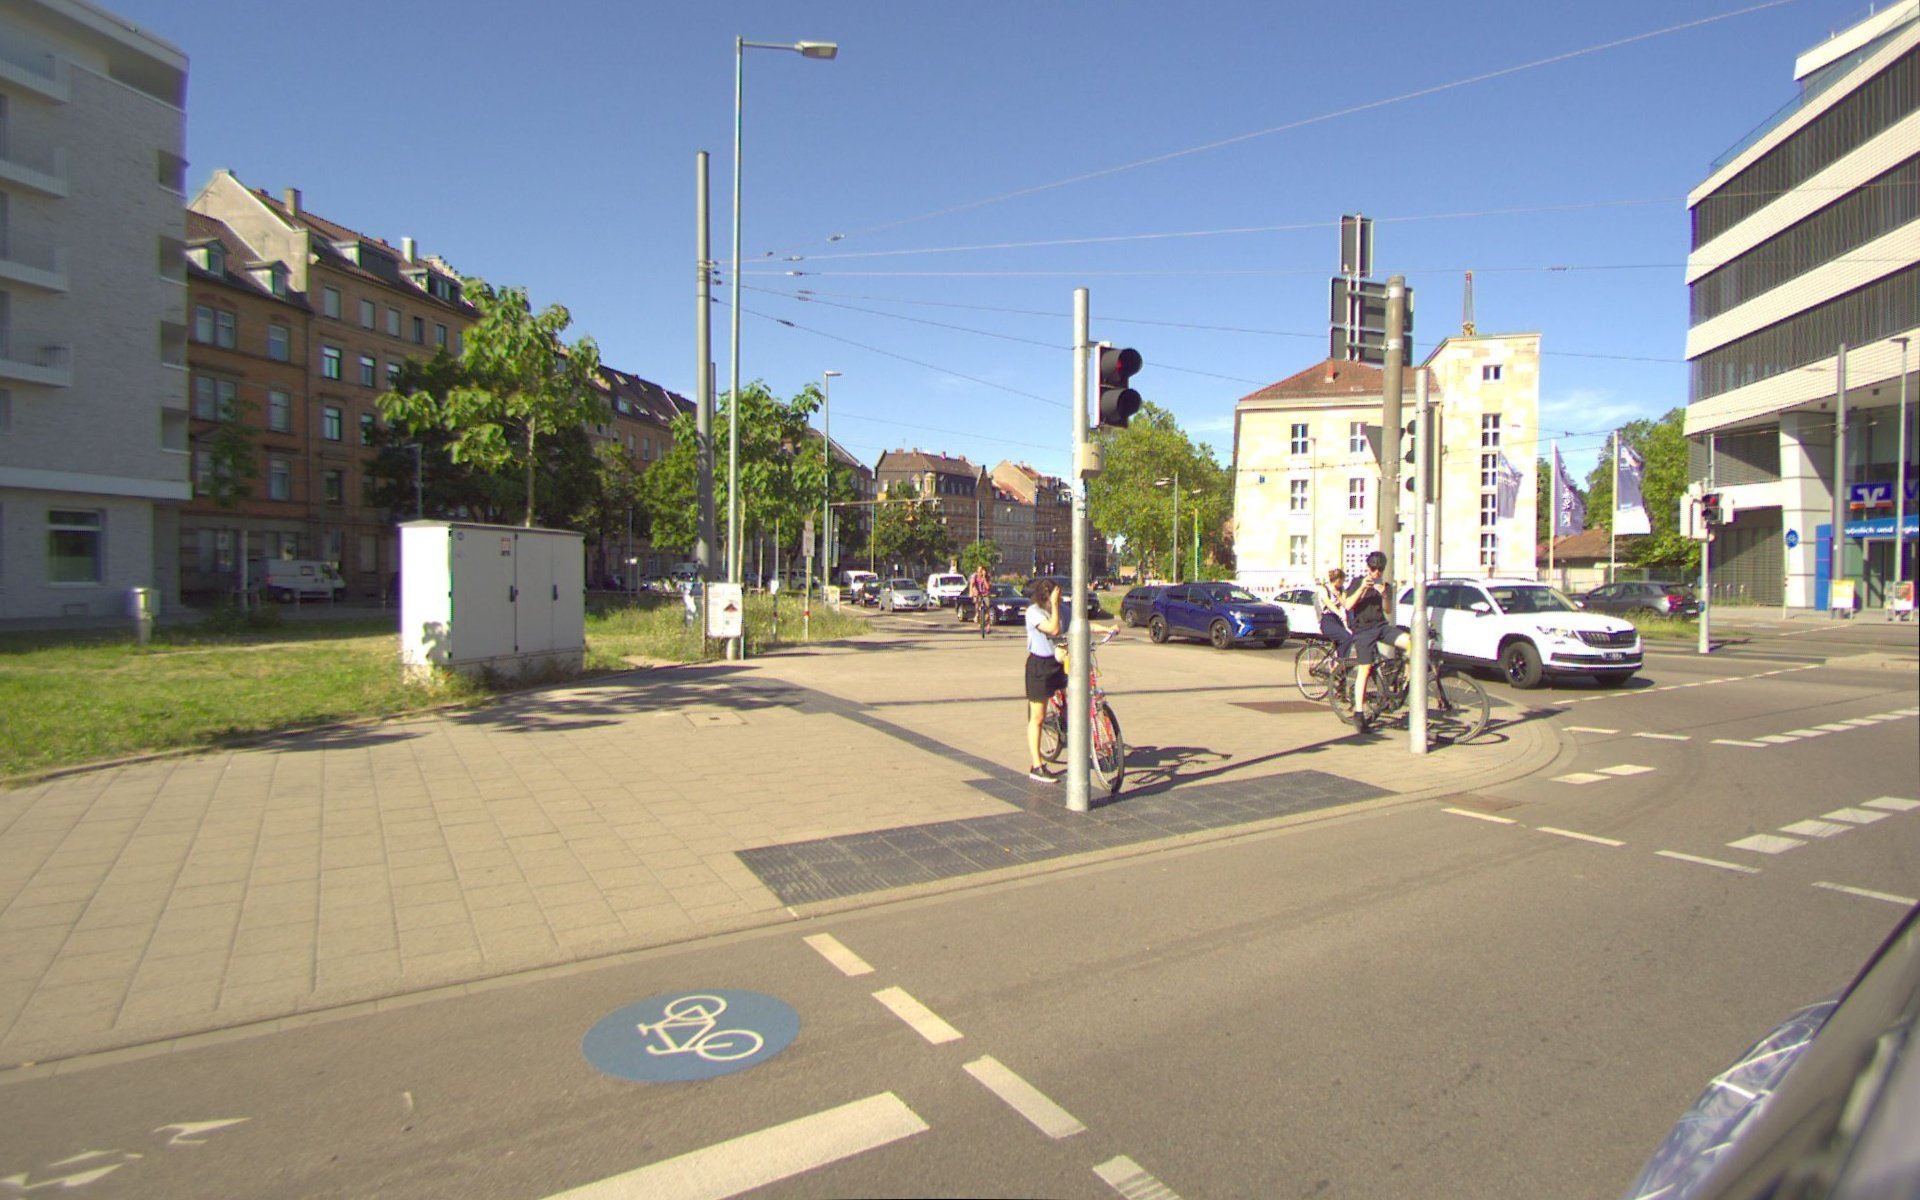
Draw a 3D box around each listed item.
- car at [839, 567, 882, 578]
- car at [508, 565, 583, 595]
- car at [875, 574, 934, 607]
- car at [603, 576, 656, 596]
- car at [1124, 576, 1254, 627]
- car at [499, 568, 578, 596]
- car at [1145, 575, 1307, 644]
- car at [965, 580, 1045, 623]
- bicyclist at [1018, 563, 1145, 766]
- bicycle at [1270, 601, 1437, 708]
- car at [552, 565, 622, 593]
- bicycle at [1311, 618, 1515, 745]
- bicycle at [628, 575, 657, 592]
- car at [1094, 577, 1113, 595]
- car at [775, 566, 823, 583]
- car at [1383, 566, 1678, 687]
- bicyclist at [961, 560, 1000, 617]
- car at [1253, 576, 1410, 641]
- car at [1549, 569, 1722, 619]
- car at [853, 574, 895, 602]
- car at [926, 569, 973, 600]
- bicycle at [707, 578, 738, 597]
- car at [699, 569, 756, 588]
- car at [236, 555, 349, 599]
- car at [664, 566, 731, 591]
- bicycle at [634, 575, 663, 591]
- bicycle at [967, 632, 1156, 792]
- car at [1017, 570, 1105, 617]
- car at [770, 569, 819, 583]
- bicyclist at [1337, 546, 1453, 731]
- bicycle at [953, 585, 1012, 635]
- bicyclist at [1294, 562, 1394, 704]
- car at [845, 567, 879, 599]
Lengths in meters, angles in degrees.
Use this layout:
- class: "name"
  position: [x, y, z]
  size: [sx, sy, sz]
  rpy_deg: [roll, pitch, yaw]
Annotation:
- class: "car"
  position: [-10.948, -3.033, 111.568]
  size: [4.309, 1.225, 2.004]
  rpy_deg: [-1, 1, -21]
- class: "car"
  position: [-23.833, -1.145, 58.321]
  size: [3.916, 1.682, 2.004]
  rpy_deg: [-1, 1, -21]
- class: "car"
  position: [-2.757, -0.498, 49.522]
  size: [1.835, 1.575, 4.009]
  rpy_deg: [-1, 2, -20]
- class: "car"
  position: [-22.786, -0.987, 69.787]
  size: [3.393, 1.348, 1.736]
  rpy_deg: [-1, 1, -21]
- class: "car"
  position: [7.226, -0.013, 32.421]
  size: [1.803, 1.448, 4.493]
  rpy_deg: [-2, 2, -22]
- class: "car"
  position: [-23.004, -1.018, 55.323]
  size: [3.916, 1.482, 2.004]
  rpy_deg: [-1, 1, -21]
- class: "car"
  position: [6.529, 0.160, 25.277]
  size: [1.836, 1.575, 4.008]
  rpy_deg: [-1, 2, -23]
- class: "car"
  position: [1.571, 0.024, 36.990]
  size: [1.553, 1.451, 3.846]
  rpy_deg: [-1, 2, -20]
- class: "bicyclist"
  position: [0.897, 0.445, 7.625]
  size: [0.577, 1.421, 0.829]
  rpy_deg: [1, 2, -23]
- class: "bicycle"
  position: [4.821, 0.630, 12.575]
  size: [0.682, 1.118, 2.016]
  rpy_deg: [1, 2, -22]
- class: "car"
  position: [-22.593, -1.292, 61.372]
  size: [3.916, 1.682, 2.004]
  rpy_deg: [-1, 1, -21]
- class: "bicycle"
  position: [4.537, 0.769, 10.288]
  size: [0.594, 1.050, 1.899]
  rpy_deg: [1, 2, -28]
- class: "bicycle"
  position: [-19.941, -1.055, 63.542]
  size: [1.729, 1.037, 0.452]
  rpy_deg: [0, 1, 2]
- class: "car"
  position: [15.118, -1.506, 106.562]
  size: [1.743, 1.771, 3.987]
  rpy_deg: [0, 1, 11]
- class: "car"
  position: [-15.036, -2.383, 94.529]
  size: [4.309, 1.479, 2.004]
  rpy_deg: [0, 1, -11]
- class: "car"
  position: [9.103, 0.314, 16.656]
  size: [1.836, 1.650, 4.347]
  rpy_deg: [-2, 2, -10]
- class: "bicyclist"
  position: [0.513, -0.289, 25.503]
  size: [0.682, 1.394, 0.740]
  rpy_deg: [1, 2, -23]
- class: "car"
  position: [9.598, 0.157, 26.471]
  size: [1.636, 1.448, 3.843]
  rpy_deg: [-4, 3, -23]
- class: "car"
  position: [22.076, -0.255, 33.261]
  size: [1.960, 1.518, 4.314]
  rpy_deg: [-1, 2, -30]
- class: "car"
  position: [-4.970, -0.710, 57.983]
  size: [1.836, 1.575, 4.009]
  rpy_deg: [0, 1, -13]
- class: "car"
  position: [-0.602, -0.871, 54.816]
  size: [1.836, 1.575, 4.008]
  rpy_deg: [0, 1, -11]
- class: "bicycle"
  position: [-13.567, -0.716, 57.895]
  size: [0.566, 1.037, 1.737]
  rpy_deg: [1, 2, 40]
- class: "car"
  position: [-18.876, -1.753, 82.210]
  size: [4.309, 1.479, 2.004]
  rpy_deg: [-1, 1, -22]
- class: "car"
  position: [-33.822, -1.162, 51.432]
  size: [1.972, 2.139, 4.620]
  rpy_deg: [0, 1, 16]
- class: "car"
  position: [-19.803, -1.641, 76.252]
  size: [4.694, 1.793, 1.736]
  rpy_deg: [-1, 1, -21]
- class: "bicycle"
  position: [-19.841, -1.080, 64.423]
  size: [1.729, 1.037, 0.452]
  rpy_deg: [0, 1, 2]
- class: "bicycle"
  position: [0.722, 0.790, 7.797]
  size: [0.682, 0.966, 1.711]
  rpy_deg: [1, 2, -23]
- class: "car"
  position: [3.916, -0.315, 39.986]
  size: [1.732, 1.705, 4.337]
  rpy_deg: [-2, 2, -19]
- class: "car"
  position: [-15.021, -2.187, 91.605]
  size: [4.309, 1.249, 2.004]
  rpy_deg: [0, 1, -11]
- class: "bicyclist"
  position: [4.466, 0.359, 10.432]
  size: [0.539, 1.820, 0.908]
  rpy_deg: [1, 2, -28]
- class: "bicycle"
  position: [0.547, 0.240, 25.388]
  size: [0.682, 1.118, 2.016]
  rpy_deg: [1, 2, -23]
- class: "bicyclist"
  position: [4.785, 0.382, 12.662]
  size: [0.583, 1.674, 1.006]
  rpy_deg: [1, 2, -23]
- class: "car"
  position: [-6.287, -1.136, 65.336]
  size: [1.839, 2.006, 4.656]
  rpy_deg: [0, 1, 0]
